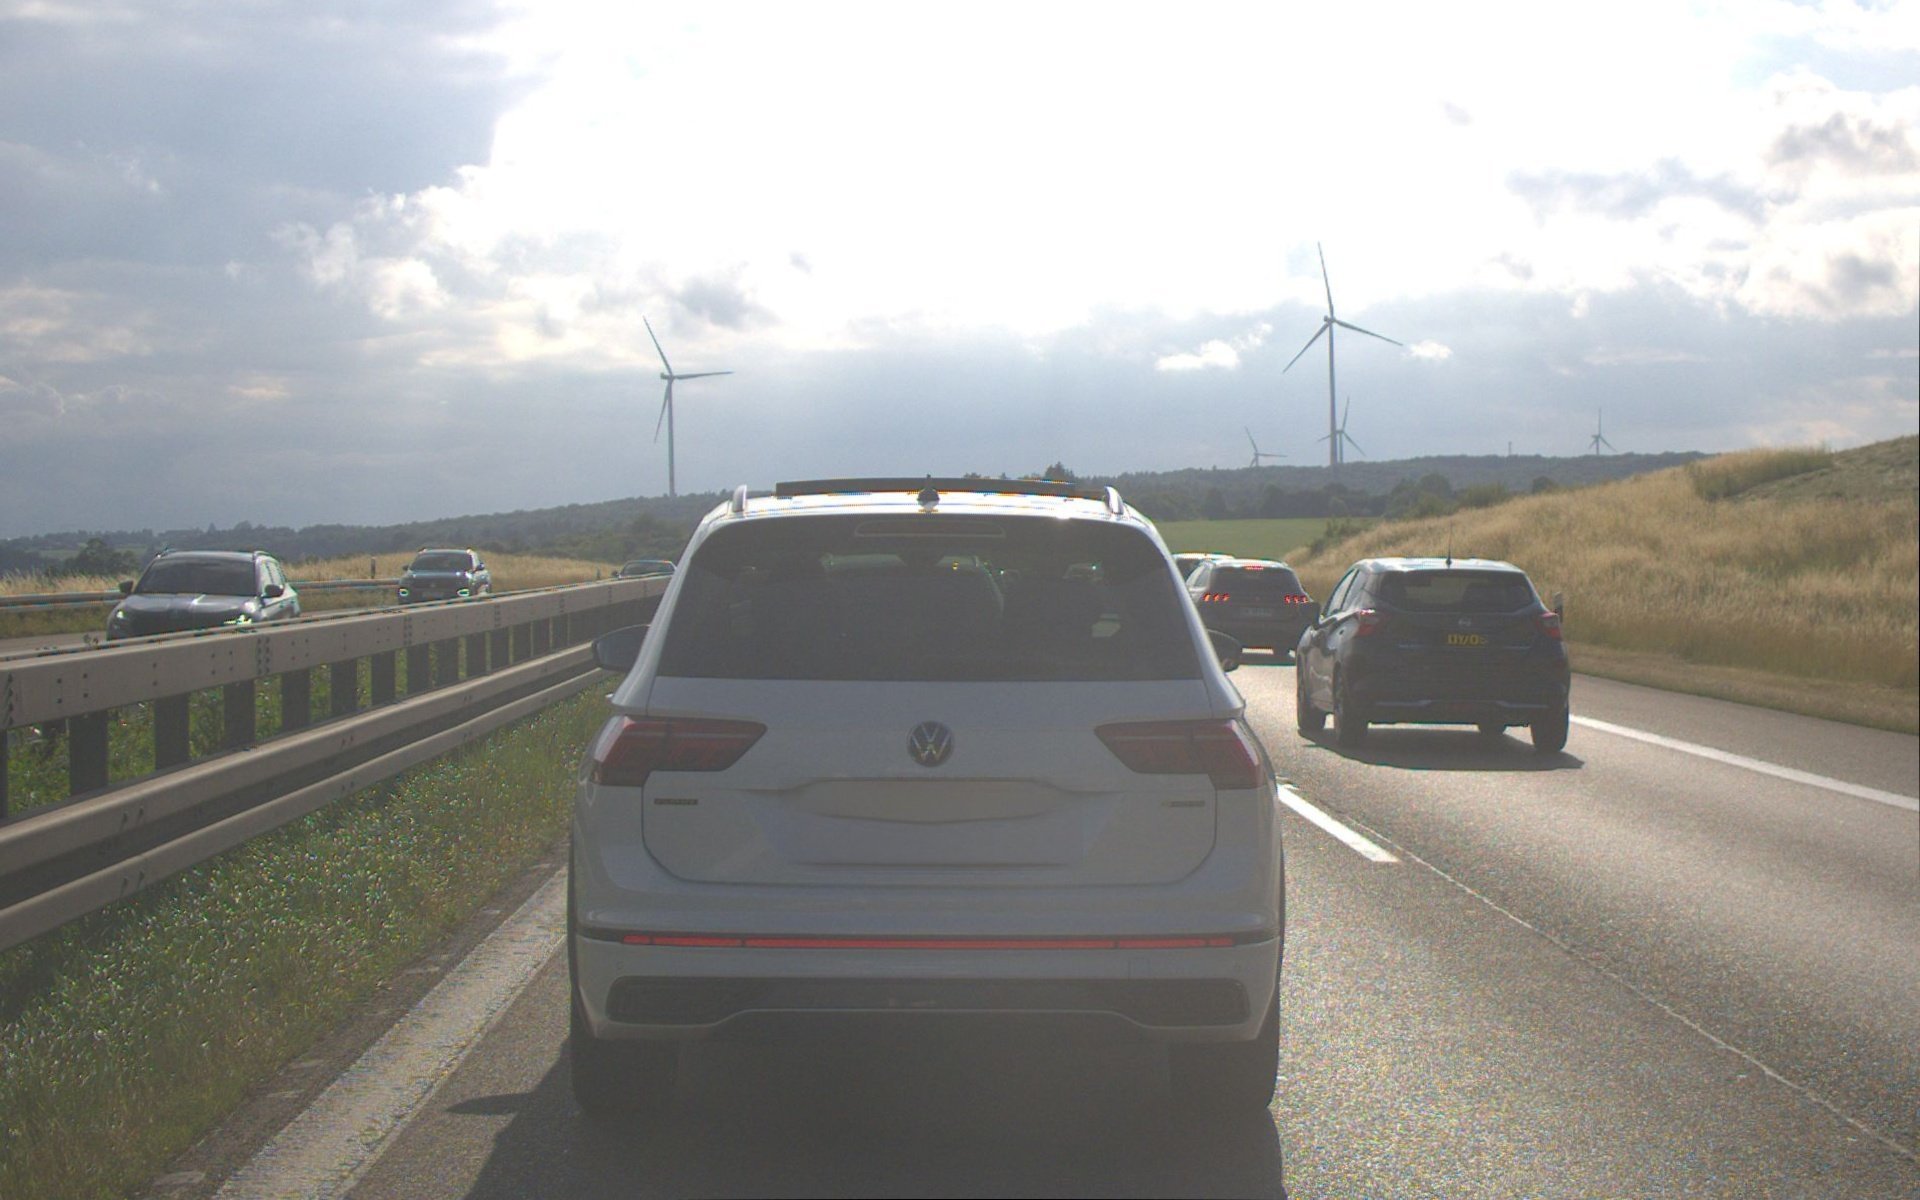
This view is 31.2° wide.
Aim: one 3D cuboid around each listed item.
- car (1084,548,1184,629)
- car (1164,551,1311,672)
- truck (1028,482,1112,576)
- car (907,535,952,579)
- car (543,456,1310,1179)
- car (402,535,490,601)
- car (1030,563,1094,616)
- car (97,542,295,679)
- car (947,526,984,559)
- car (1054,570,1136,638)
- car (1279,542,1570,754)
[{"bbox_3d":[3.406,-0.242,67.957,1.704,1.540,4.000,1,1,-1],"label":"car"},{"bbox_3d":[3.931,0.139,49.148,1.704,1.644,4.000,1,1,-1],"label":"car"},{"bbox_3d":[4.331,-2.840,137.260,3.184,3.581,11.130,1,1,1],"label":"truck"},{"bbox_3d":[-1.208,-1.678,134.823,1.704,1.644,4.000,1,1,-1],"label":"car"},{"bbox_3d":[-0.104,0.492,10.036,1.770,1.670,4.000,1,0,-1],"label":"car"},{"bbox_3d":[-12.287,-0.758,82.349,1.615,1.516,4.000,1,1,-2],"label":"car"},{"bbox_3d":[3.035,-0.320,102.859,1.704,1.540,4.000,1,1,-1],"label":"car"},{"bbox_3d":[-9.303,0.103,42.137,1.615,1.580,4.065,1,1,-2],"label":"car"},{"bbox_3d":[0.238,-2.766,164.923,1.704,1.540,4.000,1,1,-1],"label":"car"},{"bbox_3d":[3.148,0.072,80.685,1.704,1.540,4.000,1,1,-1],"label":"car"},{"bbox_3d":[3.612,0.336,27.344,1.704,1.540,4.000,1,1,-1],"label":"car"}]
